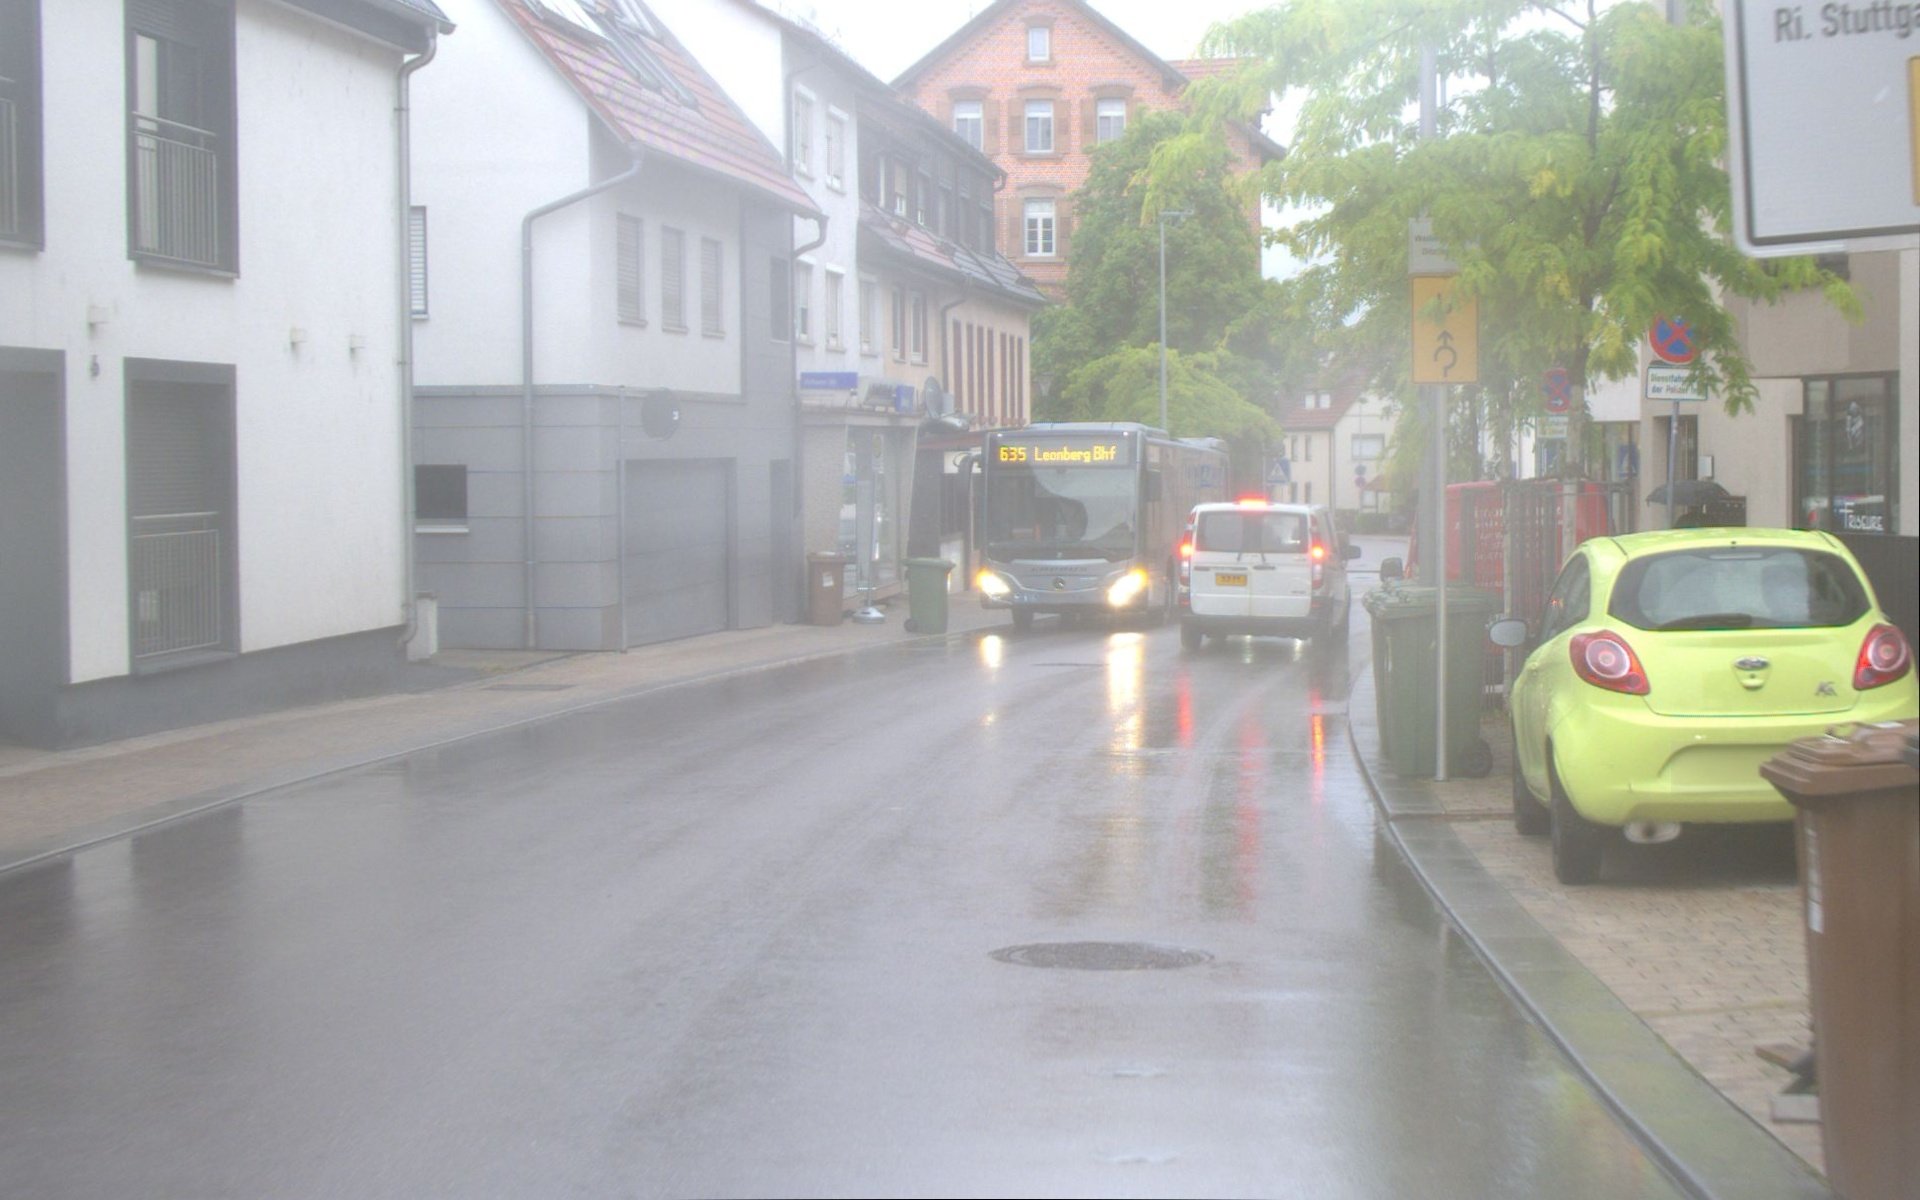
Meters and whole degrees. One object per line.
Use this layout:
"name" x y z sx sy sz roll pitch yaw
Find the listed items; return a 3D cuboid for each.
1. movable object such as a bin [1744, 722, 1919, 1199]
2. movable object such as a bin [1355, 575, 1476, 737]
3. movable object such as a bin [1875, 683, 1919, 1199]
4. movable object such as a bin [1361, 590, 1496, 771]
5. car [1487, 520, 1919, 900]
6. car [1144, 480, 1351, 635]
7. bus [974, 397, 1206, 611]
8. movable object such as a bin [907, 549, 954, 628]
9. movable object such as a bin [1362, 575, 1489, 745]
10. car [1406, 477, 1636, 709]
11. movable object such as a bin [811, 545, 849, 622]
"movable object such as a bin" 2.192 0.812 7.870 0.706 1.042 0.517 0 0 5
"movable object such as a bin" 3.168 0.381 23.985 0.810 1.105 0.986 0 1 6
"movable object such as a bin" 2.281 0.766 6.441 0.767 1.169 1.541 0 1 2
"movable object such as a bin" 2.950 0.499 21.736 0.810 1.105 0.986 0 1 6
"car" 3.388 0.419 15.767 1.603 1.479 3.301 -3 1 4
"car" 3.737 -0.556 44.045 2.196 1.845 4.302 -1 1 10
"bus" 2.228 -1.462 55.130 2.741 3.119 9.230 0 1 8
"movable object such as a bin" -0.423 -0.168 49.202 0.633 1.118 0.519 0 0 4
"movable object such as a bin" 3.103 0.392 22.980 0.810 1.105 0.986 0 1 6
"car" 4.625 -0.072 28.096 1.712 1.756 3.998 0 1 11
"movable object such as a bin" -1.911 -0.242 50.552 0.518 1.118 0.636 0 0 0
